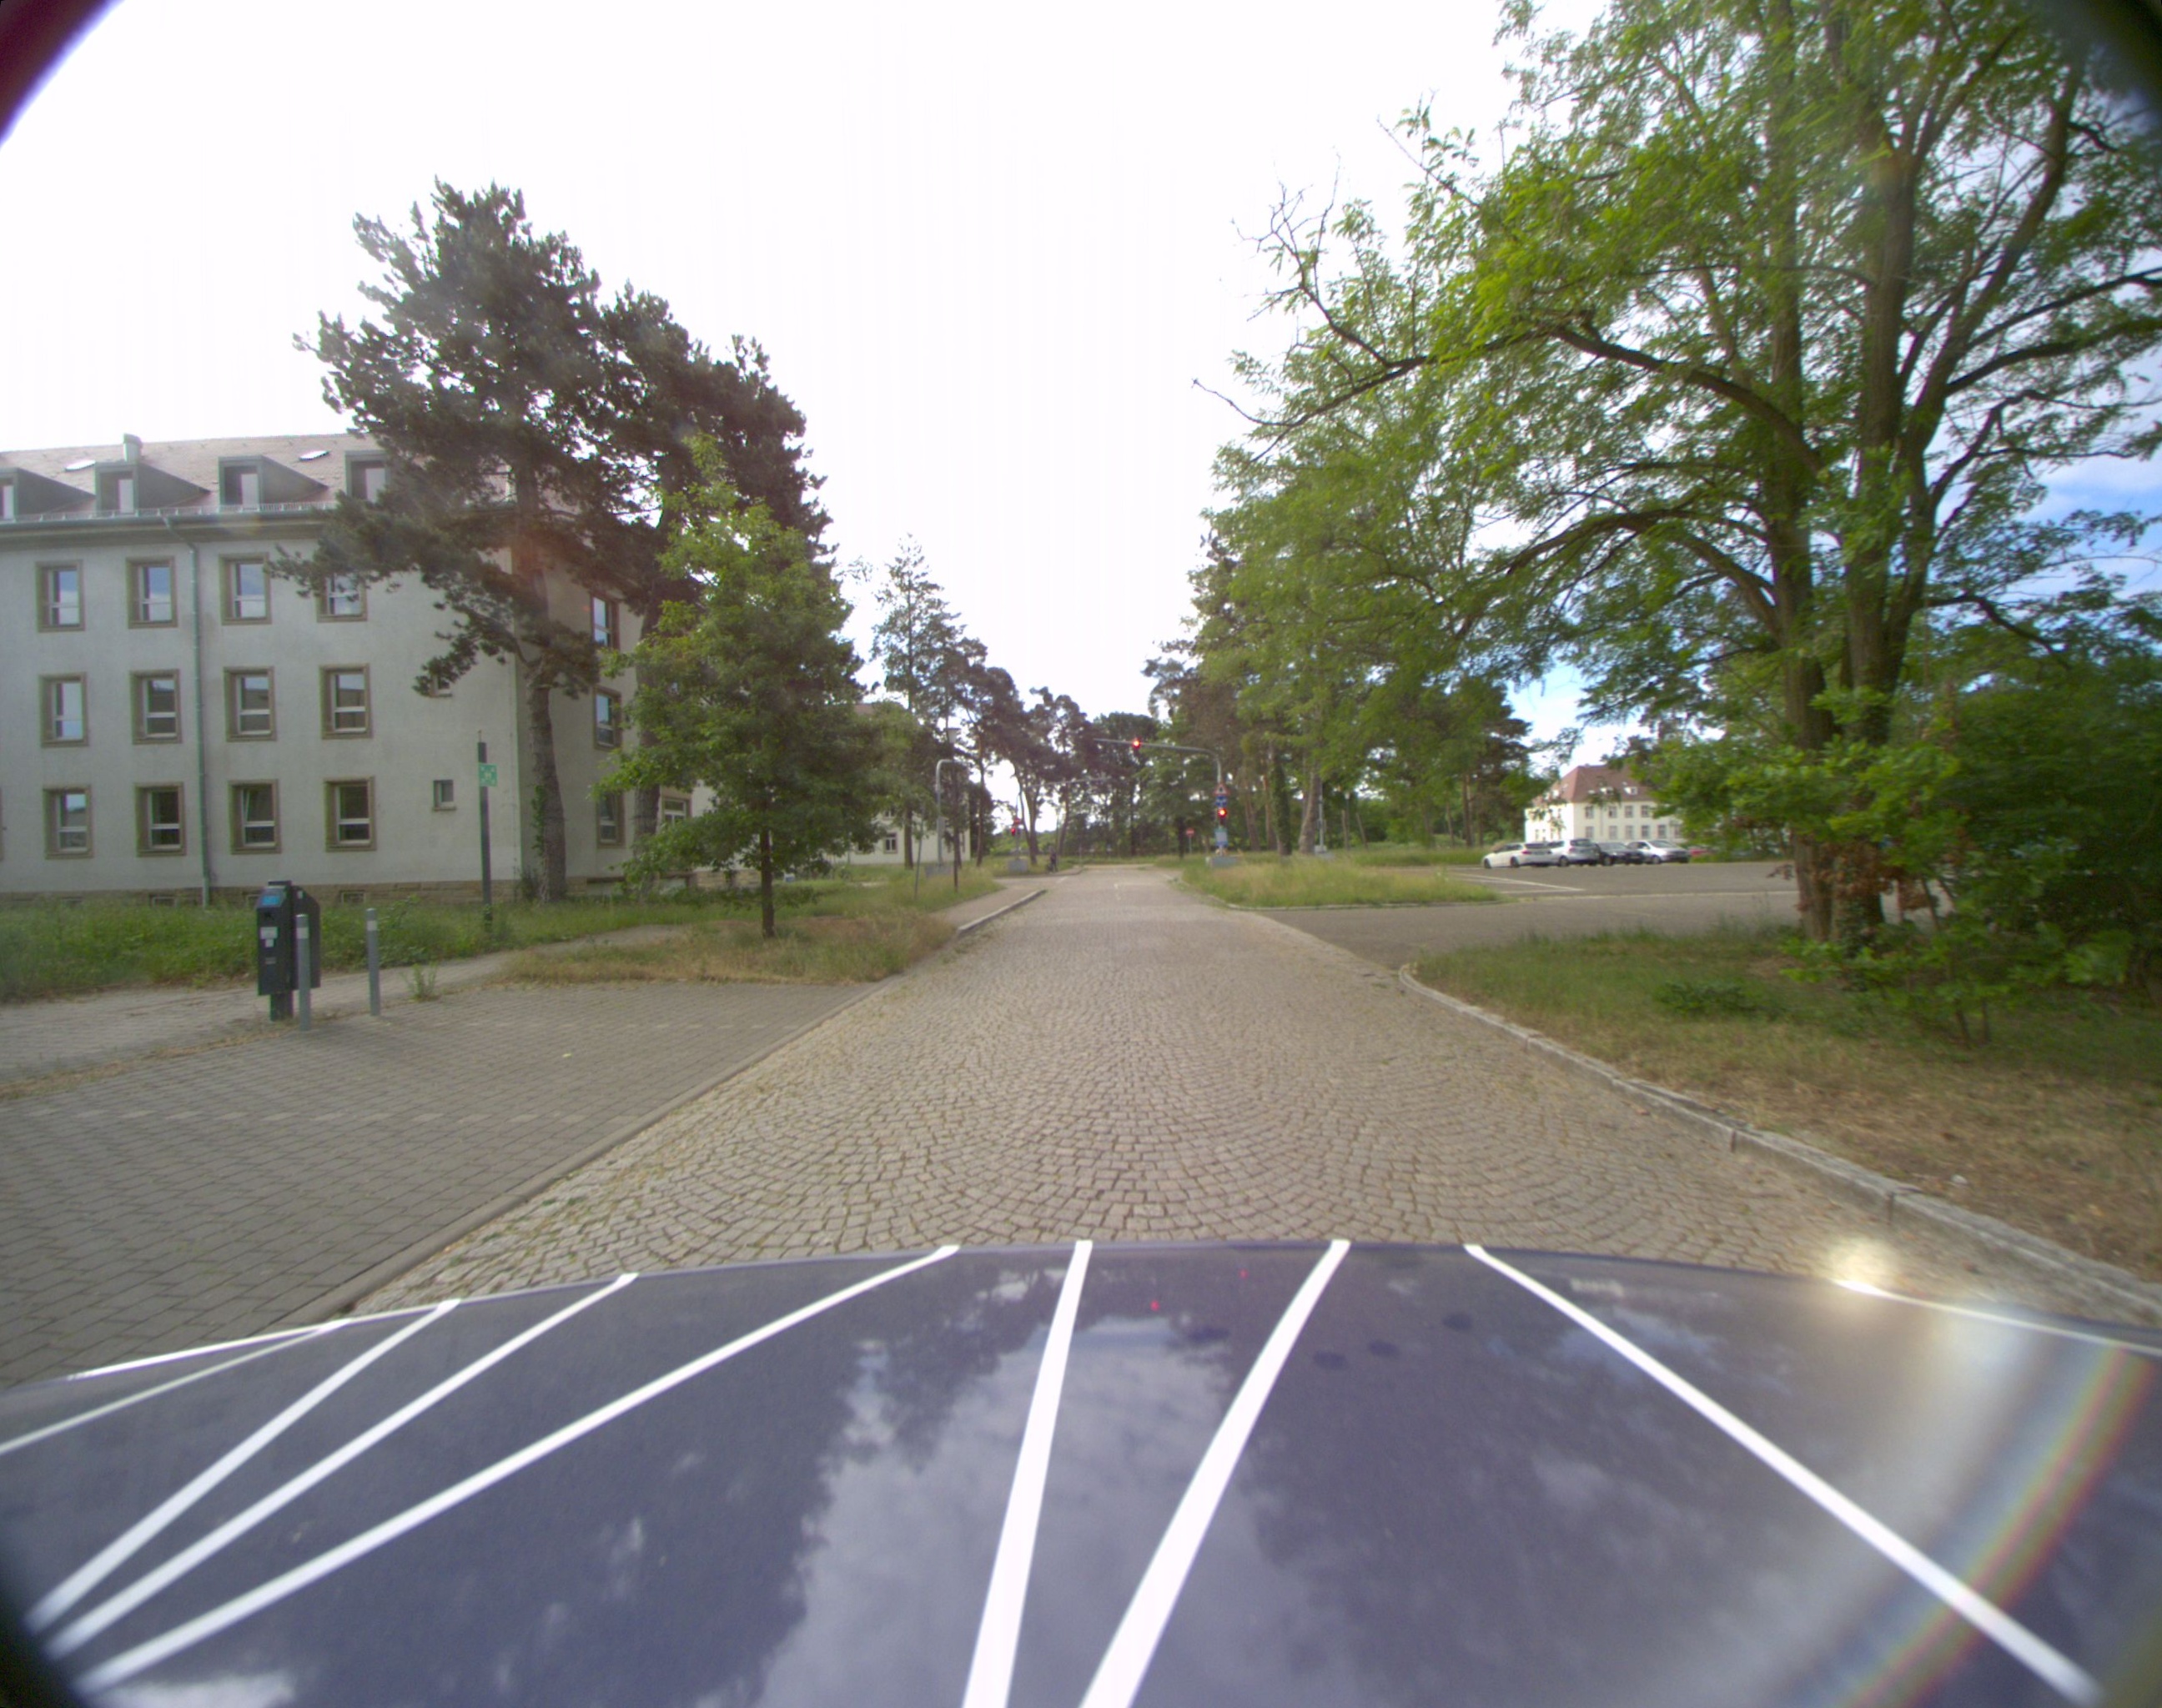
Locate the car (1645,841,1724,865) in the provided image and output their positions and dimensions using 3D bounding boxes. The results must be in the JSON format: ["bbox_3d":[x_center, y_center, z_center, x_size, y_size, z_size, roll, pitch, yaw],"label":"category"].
[{"bbox_3d":[41.841,-0.023,52.816,1.840,1.512,4.585,-1,-1,0],"label":"car"}]

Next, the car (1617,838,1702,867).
[{"bbox_3d":[32.349,-0.043,42.654,1.736,1.512,4.115,-1,-1,3],"label":"car"}]

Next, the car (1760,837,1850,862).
[{"bbox_3d":[50.226,-0.286,52.844,1.840,1.564,4.585,-1,-1,0],"label":"car"}]

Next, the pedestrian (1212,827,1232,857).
[{"bbox_3d":[7.215,-0.594,38.958,0.882,1.509,0.822,-1,1,16],"label":"pedestrian"}]

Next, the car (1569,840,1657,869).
[{"bbox_3d":[29.595,0.056,42.480,1.839,1.460,4.586,-1,-1,2],"label":"car"}]

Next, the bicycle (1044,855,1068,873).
[{"bbox_3d":[-1.875,0.718,56.745,0.962,1.268,2.167,-1,0,22],"label":"bicycle"}]

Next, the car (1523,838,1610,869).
[{"bbox_3d":[26.938,0.012,42.358,1.840,1.568,4.585,-1,-1,0],"label":"car"}]

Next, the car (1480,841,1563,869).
[{"bbox_3d":[24.324,0.098,42.197,1.840,1.441,4.656,-1,-1,0],"label":"car"}]

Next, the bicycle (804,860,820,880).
[{"bbox_3d":[-18.263,1.077,51.592,0.482,1.324,1.837,-1,0,-3],"label":"bicycle"}]

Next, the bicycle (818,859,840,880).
[{"bbox_3d":[-17.136,1.049,51.657,0.572,1.324,1.839,-1,0,10],"label":"bicycle"}]

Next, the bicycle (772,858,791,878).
[{"bbox_3d":[-20.322,0.919,51.552,0.572,1.324,1.837,-1,0,-3],"label":"bicycle"}]

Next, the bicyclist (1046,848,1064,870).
[{"bbox_3d":[-1.937,0.391,56.730,0.962,1.626,0.919,-1,1,22],"label":"bicyclist"}]

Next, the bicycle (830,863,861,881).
[{"bbox_3d":[-15.495,1.192,49.934,1.836,1.079,0.573,-1,3,6],"label":"bicycle"}]

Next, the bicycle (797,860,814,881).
[{"bbox_3d":[-18.695,1.098,51.618,0.572,1.324,1.837,-1,0,-3],"label":"bicycle"}]

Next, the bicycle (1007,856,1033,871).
[{"bbox_3d":[-4.614,0.704,57.362,1.836,1.079,0.572,-2,3,1],"label":"bicycle"}]
